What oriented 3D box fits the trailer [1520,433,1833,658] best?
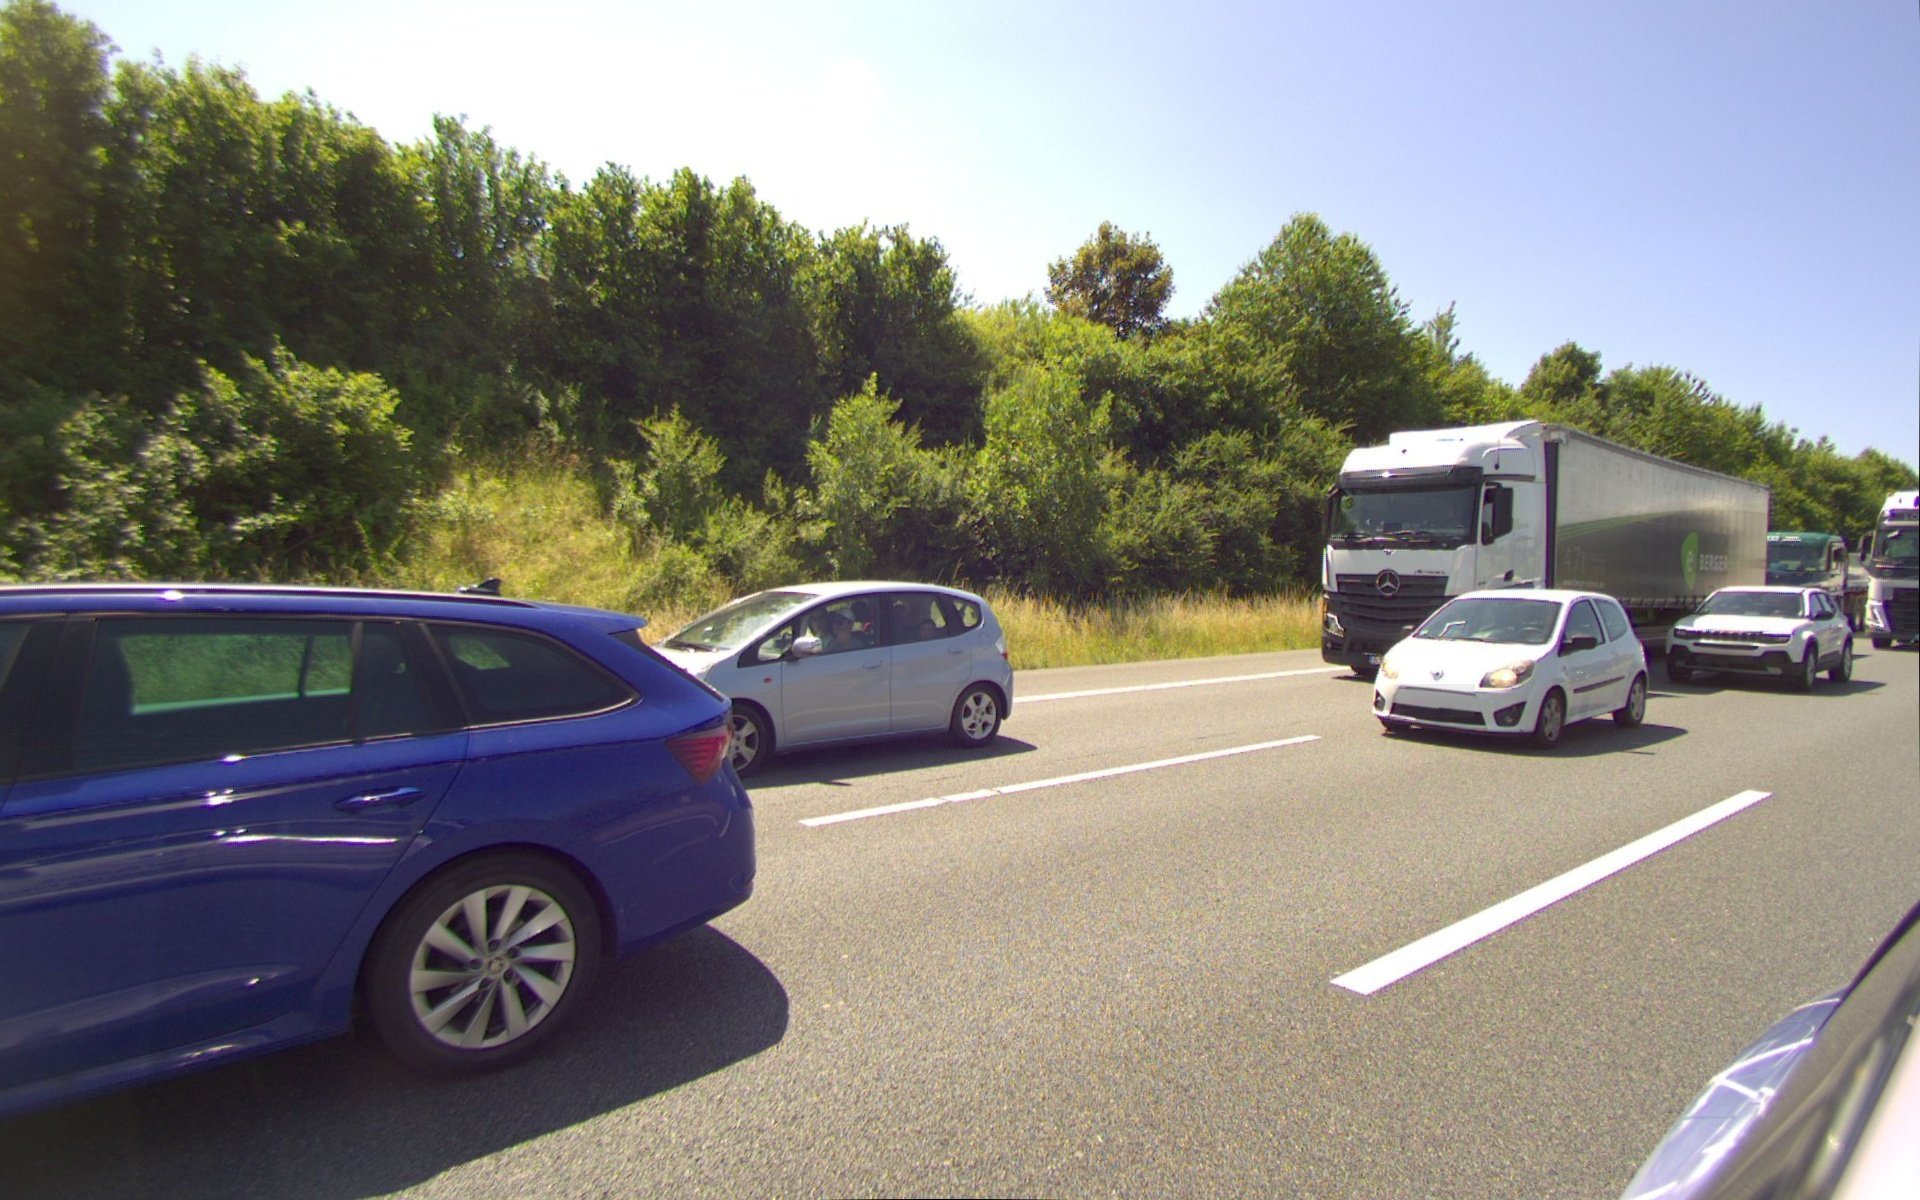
[{"bbox_3d":[17.248,-1.135,23.800,11.858,4.208,2.880,-1,1,-39],"label":"trailer"}]

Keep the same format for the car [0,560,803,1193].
[{"bbox_3d":[-2.863,0.612,2.912,4.489,1.434,1.781,-1,3,-38],"label":"car"}]

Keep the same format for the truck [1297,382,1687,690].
[{"bbox_3d":[9.515,-0.965,17.571,8.321,4.208,2.880,-1,1,-38],"label":"truck"}]

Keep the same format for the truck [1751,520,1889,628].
[{"bbox_3d":[27.636,-0.827,32.454,5.572,3.185,2.300,-1,1,-38],"label":"truck"}]

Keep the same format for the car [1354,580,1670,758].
[{"bbox_3d":[5.838,0.560,10.542,3.742,1.451,1.609,-2,3,-40],"label":"car"}]

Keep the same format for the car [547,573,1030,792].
[{"bbox_3d":[-1.364,0.530,8.851,3.853,1.479,1.666,-1,3,-40],"label":"car"}]

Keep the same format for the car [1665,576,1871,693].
[{"bbox_3d":[12.852,0.434,16.037,3.815,1.577,1.748,-2,3,-39],"label":"car"}]

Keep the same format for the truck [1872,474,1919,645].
[{"bbox_3d":[26.264,-1.009,26.096,8.209,4.044,2.750,-1,1,-38],"label":"truck"}]
